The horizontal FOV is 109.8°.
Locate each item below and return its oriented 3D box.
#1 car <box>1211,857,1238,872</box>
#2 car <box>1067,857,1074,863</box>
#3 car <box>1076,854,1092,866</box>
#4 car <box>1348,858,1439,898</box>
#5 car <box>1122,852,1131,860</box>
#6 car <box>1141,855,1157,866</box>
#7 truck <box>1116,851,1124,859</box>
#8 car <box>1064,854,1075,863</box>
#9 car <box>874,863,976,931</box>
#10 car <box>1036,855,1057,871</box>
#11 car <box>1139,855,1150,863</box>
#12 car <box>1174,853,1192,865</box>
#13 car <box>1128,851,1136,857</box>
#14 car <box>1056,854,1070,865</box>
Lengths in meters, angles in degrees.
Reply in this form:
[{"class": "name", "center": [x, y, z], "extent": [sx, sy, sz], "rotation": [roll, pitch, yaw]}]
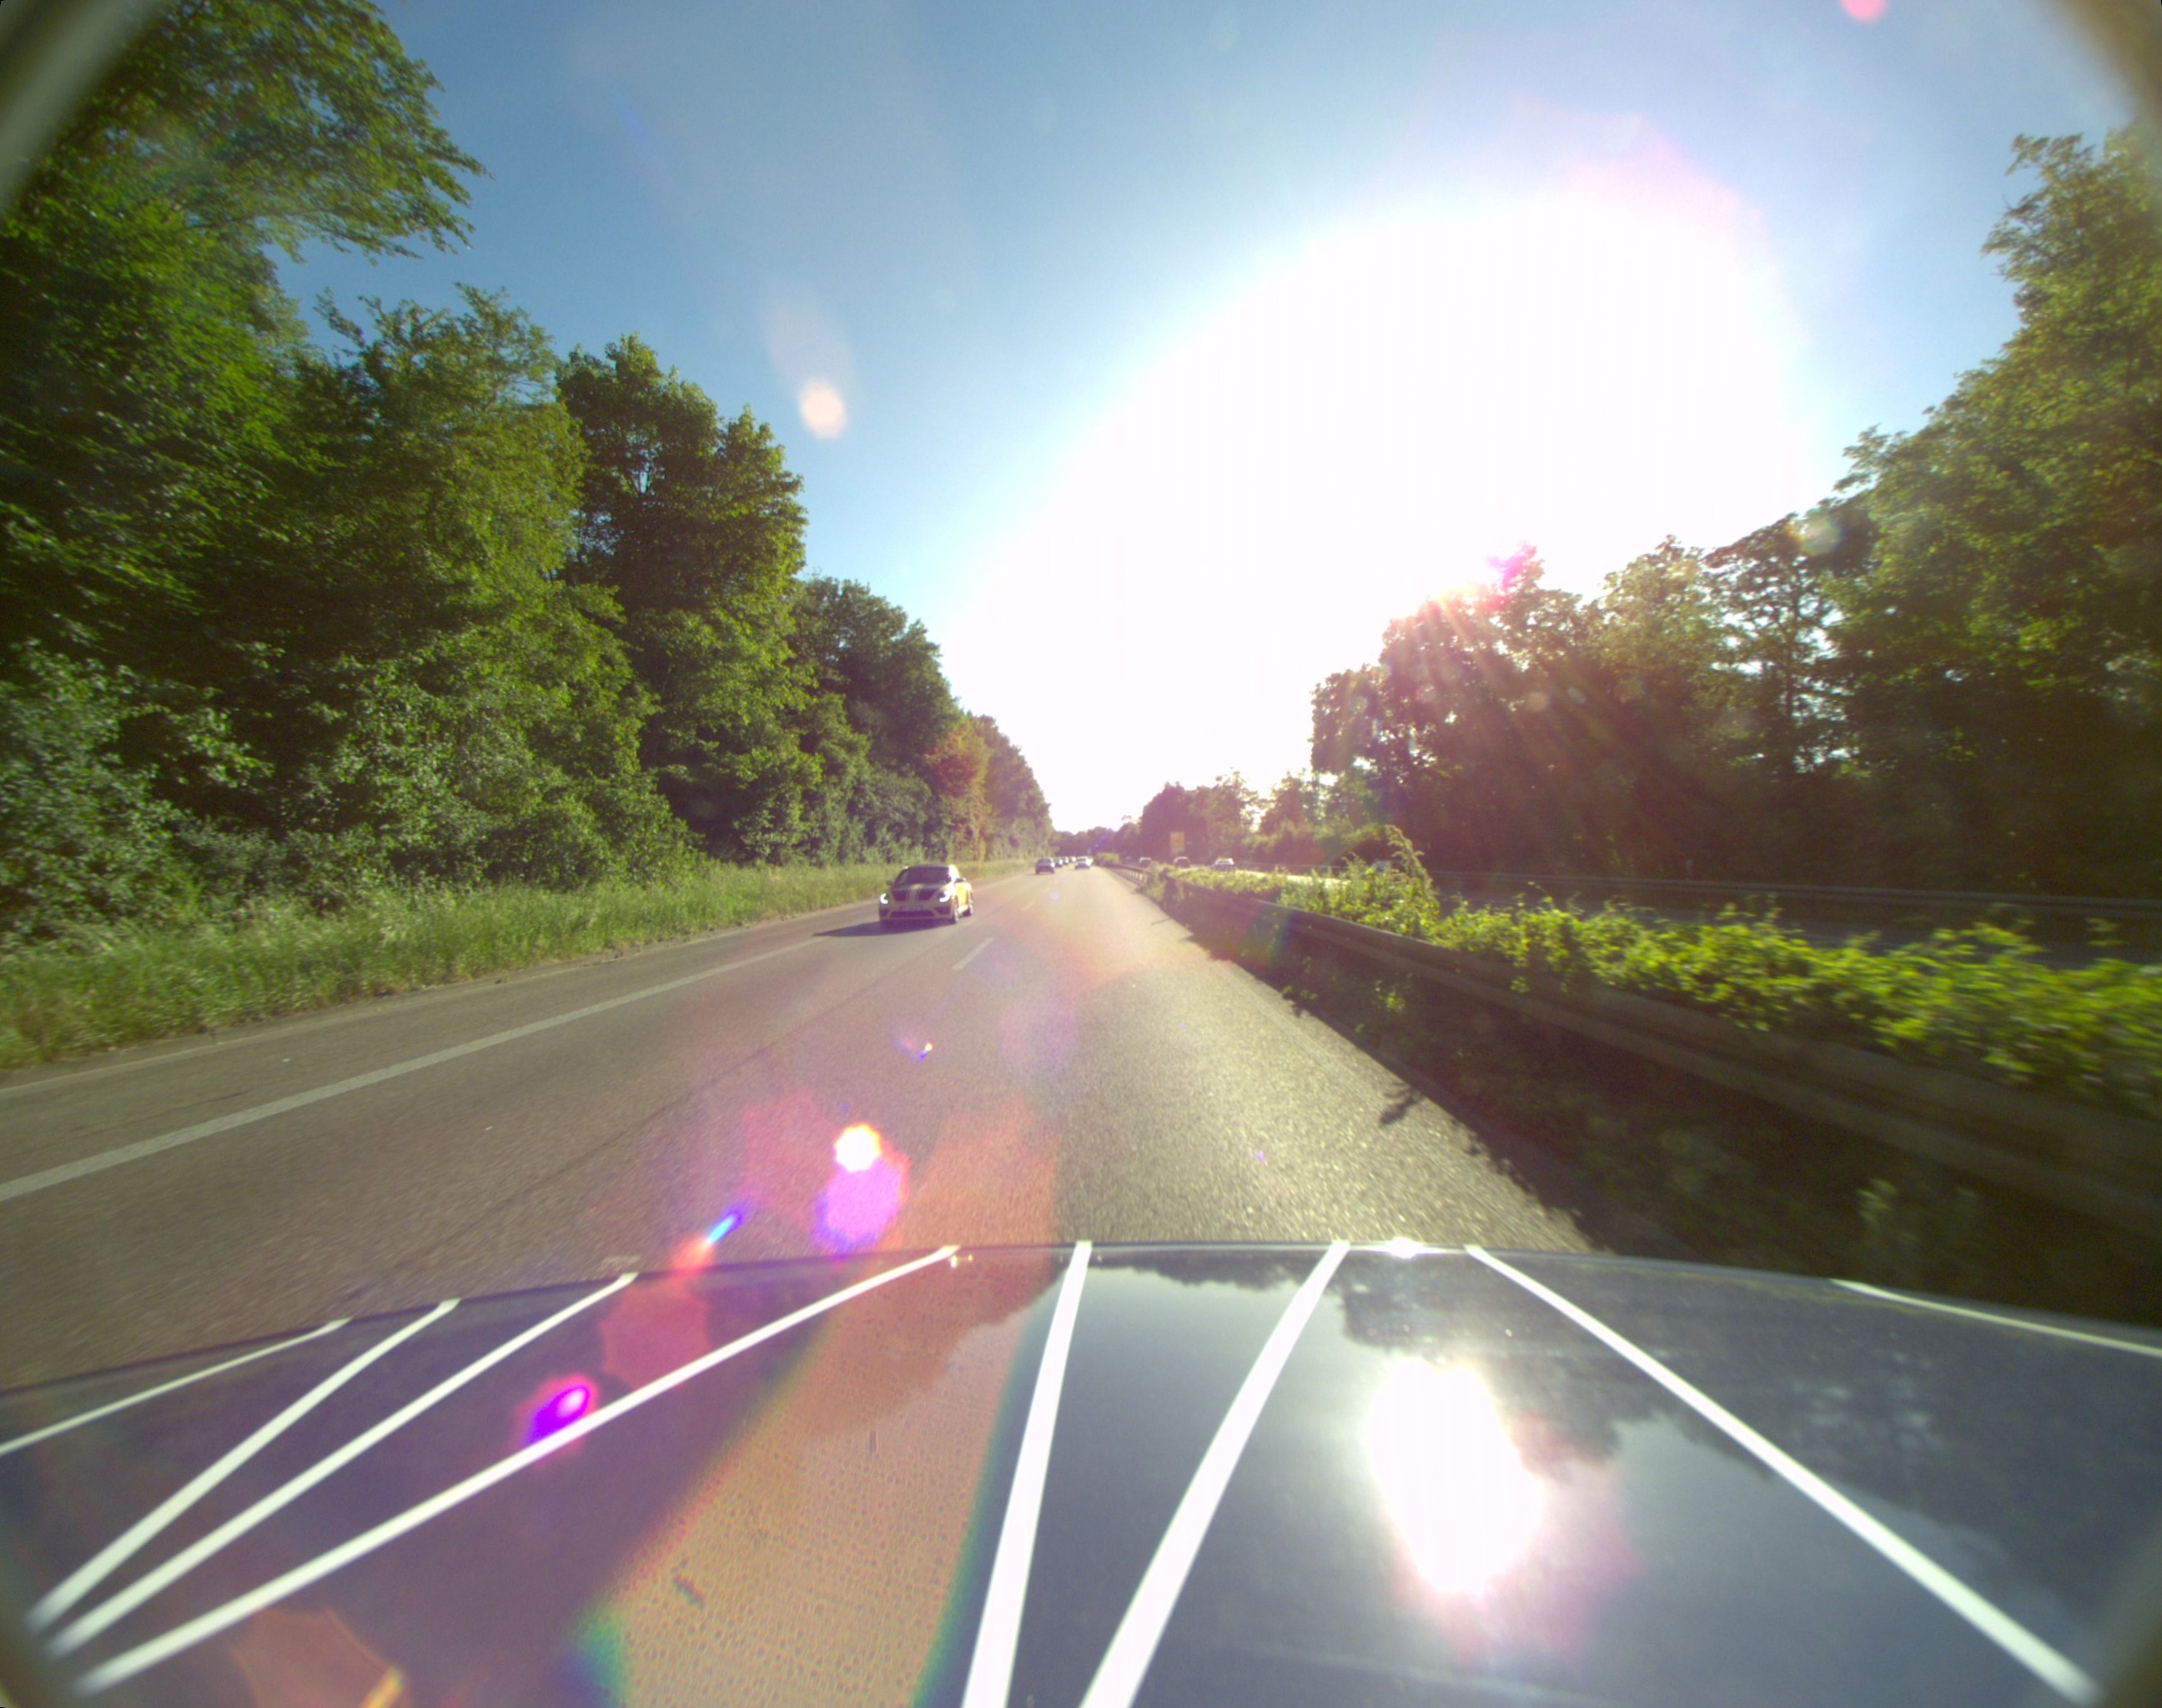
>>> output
[{"class": "car", "center": [12.922, 0.912, 68.597], "extent": [1.649, 1.215, 4.262], "rotation": [-1, 0, 0]}, {"class": "car", "center": [-2.622, 1.447, 192.294], "extent": [1.795, 1.440, 3.877], "rotation": [-2, 0, 0]}, {"class": "car", "center": [0.445, 0.751, 94.252], "extent": [1.890, 1.440, 3.878], "rotation": [-2, 0, 1]}, {"class": "car", "center": [12.286, 0.898, 30.205], "extent": [1.737, 1.400, 4.556], "rotation": [-2, 0, 0]}, {"class": "car", "center": [9.536, 0.432, 160.828], "extent": [1.642, 1.694, 3.793], "rotation": [-2, 1, 0]}, {"class": "car", "center": [9.464, 0.887, 105.970], "extent": [1.752, 1.417, 5.204], "rotation": [-2, 1, 0]}, {"class": "truck", "center": [12.907, 0.309, 251.075], "extent": [2.167, 2.570, 6.943], "rotation": [-2, 1, 0]}, {"class": "car", "center": [-2.041, 0.804, 137.707], "extent": [1.795, 1.440, 3.877], "rotation": [-2, 0, 0]}, {"class": "car", "center": [-3.871, 1.020, 19.515], "extent": [1.795, 1.440, 3.877], "rotation": [-2, 0, 0]}, {"class": "car", "center": [-3.294, 0.885, 73.568], "extent": [1.795, 1.440, 3.877], "rotation": [-2, 0, 0]}, {"class": "car", "center": [12.788, 1.038, 153.548], "extent": [1.752, 1.486, 3.976], "rotation": [-2, 1, 0]}, {"class": "car", "center": [13.122, 0.593, 97.615], "extent": [1.752, 1.417, 4.135], "rotation": [-2, 1, 0]}, {"class": "car", "center": [13.791, 0.034, 205.479], "extent": [1.642, 1.540, 3.793], "rotation": [-2, 1, 0]}, {"class": "car", "center": [-2.593, 0.822, 110.357], "extent": [1.795, 1.440, 3.877], "rotation": [-2, 0, 0]}]
